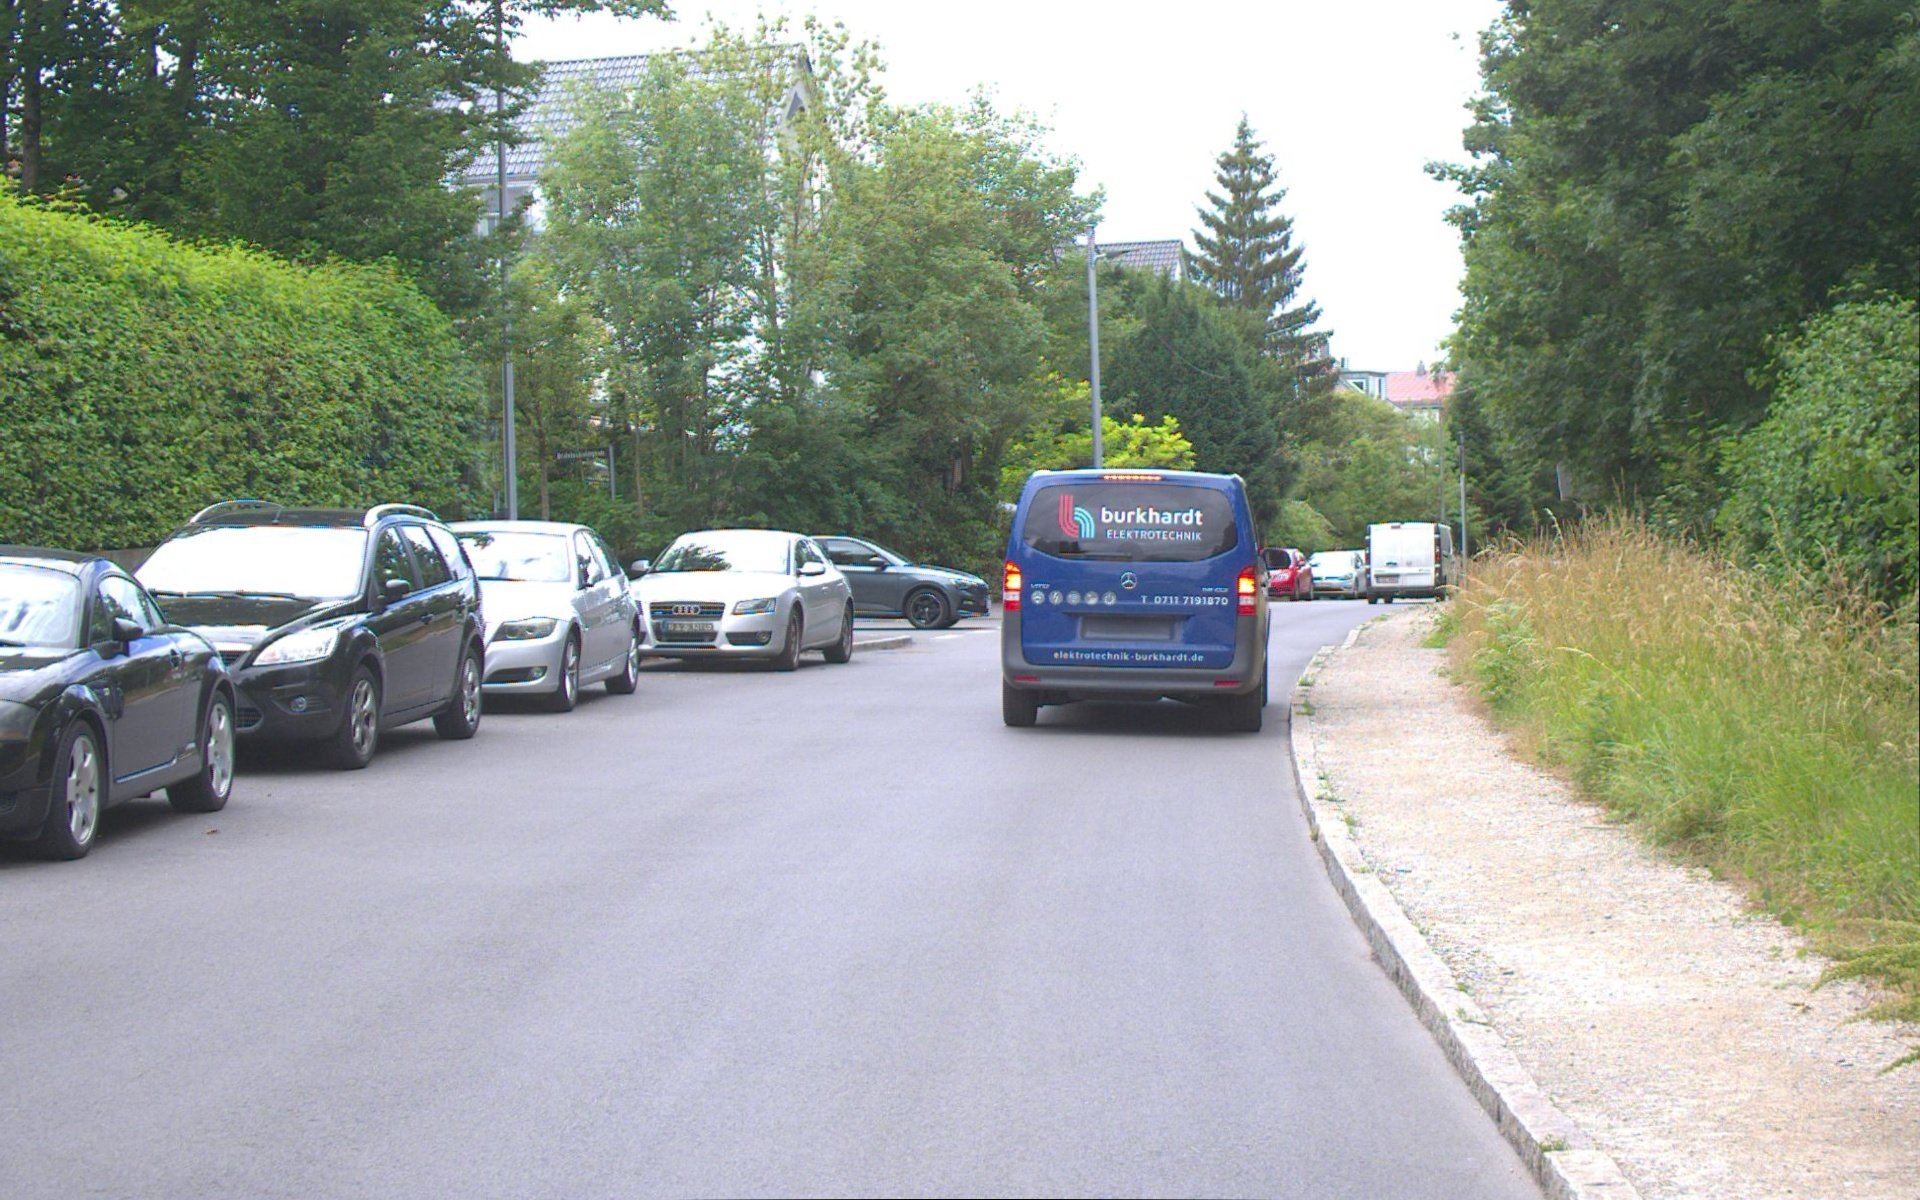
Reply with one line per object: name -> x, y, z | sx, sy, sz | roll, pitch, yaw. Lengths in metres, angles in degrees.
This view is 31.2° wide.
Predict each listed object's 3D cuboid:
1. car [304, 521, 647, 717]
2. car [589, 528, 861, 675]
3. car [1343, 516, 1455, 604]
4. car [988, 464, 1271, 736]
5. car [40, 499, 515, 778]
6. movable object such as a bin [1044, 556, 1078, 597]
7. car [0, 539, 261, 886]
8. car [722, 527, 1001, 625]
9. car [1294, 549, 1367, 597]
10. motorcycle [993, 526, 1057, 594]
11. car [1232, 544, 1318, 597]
car -> -3.646, 0.084, 26.625 | 1.775, 1.369, 4.340 | 1, 1, 4
car -> -2.300, -0.034, 34.869 | 1.832, 1.369, 4.444 | 1, 1, 8
car -> 10.810, -0.995, 84.316 | 2.207, 2.056, 6.131 | 0, 1, 12
car -> 1.372, -0.053, 25.997 | 1.936, 1.873, 4.530 | 0, 1, 5
car -> -4.107, 0.164, 21.428 | 1.657, 1.528, 4.473 | 1, 1, 6
movable object such as a bin -> 2.295, -0.537, 78.141 | 0.591, 0.906, 0.700 | 1, 1, 18
car -> -4.529, 0.408, 15.703 | 1.711, 1.336, 4.108 | 1, 1, 2
car -> -1.488, -0.376, 53.035 | 4.167, 1.442, 1.740 | 1, 1, 2
car -> 11.070, -0.814, 102.624 | 1.750, 1.400, 3.998 | 1, 1, 12
motorcycle -> 1.455, -0.887, 76.165 | 0.810, 1.480, 2.894 | 1, 1, 13
car -> 8.488, -0.793, 92.372 | 1.636, 1.400, 3.997 | 1, 1, 15
